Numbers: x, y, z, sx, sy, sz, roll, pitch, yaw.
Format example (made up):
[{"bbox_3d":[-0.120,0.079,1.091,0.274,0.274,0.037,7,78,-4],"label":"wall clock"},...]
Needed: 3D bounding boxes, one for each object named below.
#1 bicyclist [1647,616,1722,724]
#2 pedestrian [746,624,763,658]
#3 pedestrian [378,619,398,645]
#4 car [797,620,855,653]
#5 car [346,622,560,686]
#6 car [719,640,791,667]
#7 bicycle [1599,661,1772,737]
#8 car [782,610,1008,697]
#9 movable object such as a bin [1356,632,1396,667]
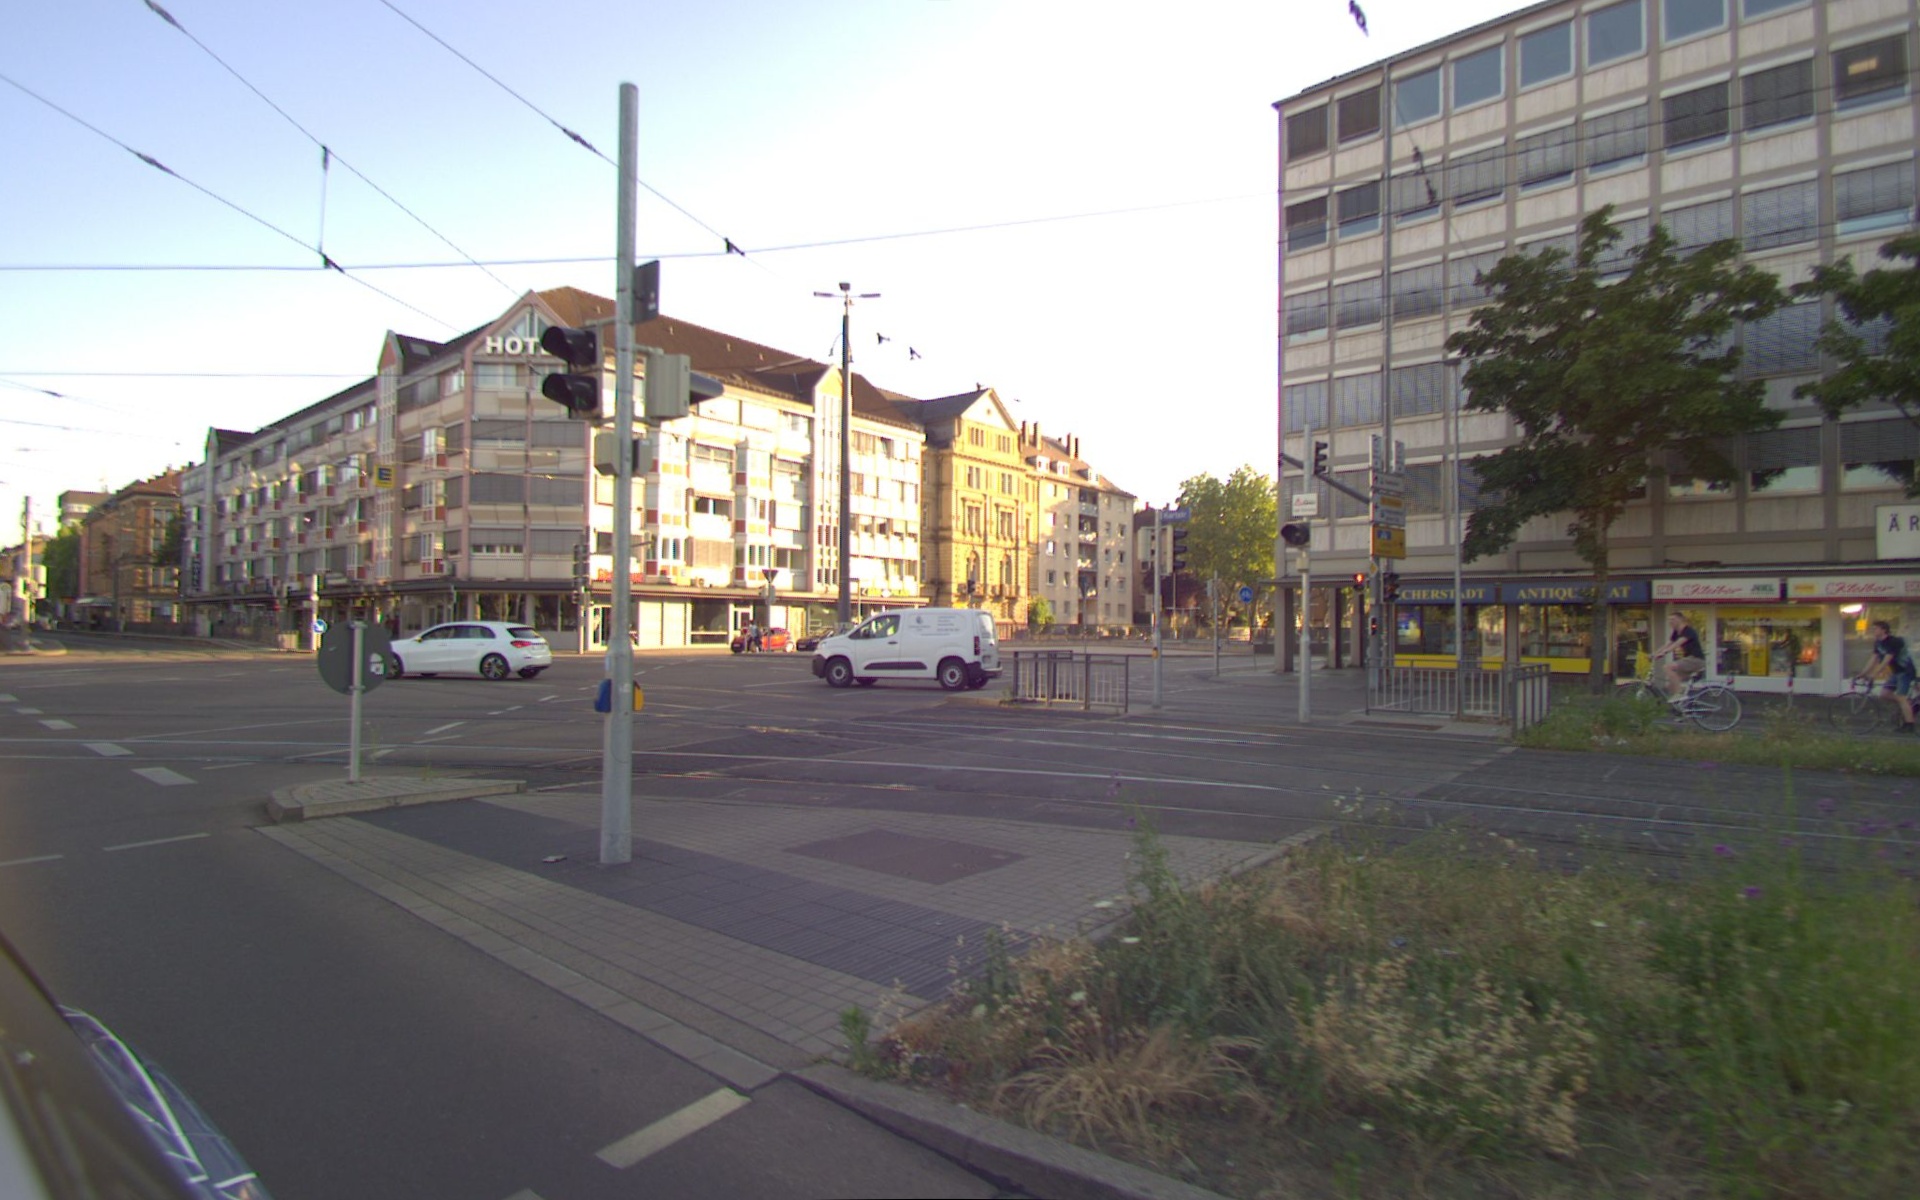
[{"bbox_3d":[11.297,1.074,15.806,0.693,1.624,0.734,0,-2,14],"label":"bicyclist"},{"bbox_3d":[-9.761,1.937,47.999,0.693,1.595,0.828,1,-2,-18],"label":"pedestrian"},{"bbox_3d":[-35.545,1.970,62.920,0.906,1.560,0.698,3,-1,39],"label":"pedestrian"},{"bbox_3d":[-7.287,2.037,55.524,2.195,1.567,4.603,1,-4,6],"label":"car"},{"bbox_3d":[-12.588,1.331,25.272,4.507,1.460,1.813,1,-2,6],"label":"car"},{"bbox_3d":[-11.376,2.956,56.310,1.646,1.433,3.849,-1,-3,36],"label":"car"},{"bbox_3d":[11.275,1.516,15.801,2.038,1.084,0.753,0,-2,14],"label":"bicycle"},{"bbox_3d":[-1.494,1.179,23.442,4.840,1.852,1.987,0,-2,21],"label":"car"},{"bbox_3d":[16.335,1.936,39.733,1.393,1.337,0.961,2,-2,-45],"label":"movable object such as a bin"}]
